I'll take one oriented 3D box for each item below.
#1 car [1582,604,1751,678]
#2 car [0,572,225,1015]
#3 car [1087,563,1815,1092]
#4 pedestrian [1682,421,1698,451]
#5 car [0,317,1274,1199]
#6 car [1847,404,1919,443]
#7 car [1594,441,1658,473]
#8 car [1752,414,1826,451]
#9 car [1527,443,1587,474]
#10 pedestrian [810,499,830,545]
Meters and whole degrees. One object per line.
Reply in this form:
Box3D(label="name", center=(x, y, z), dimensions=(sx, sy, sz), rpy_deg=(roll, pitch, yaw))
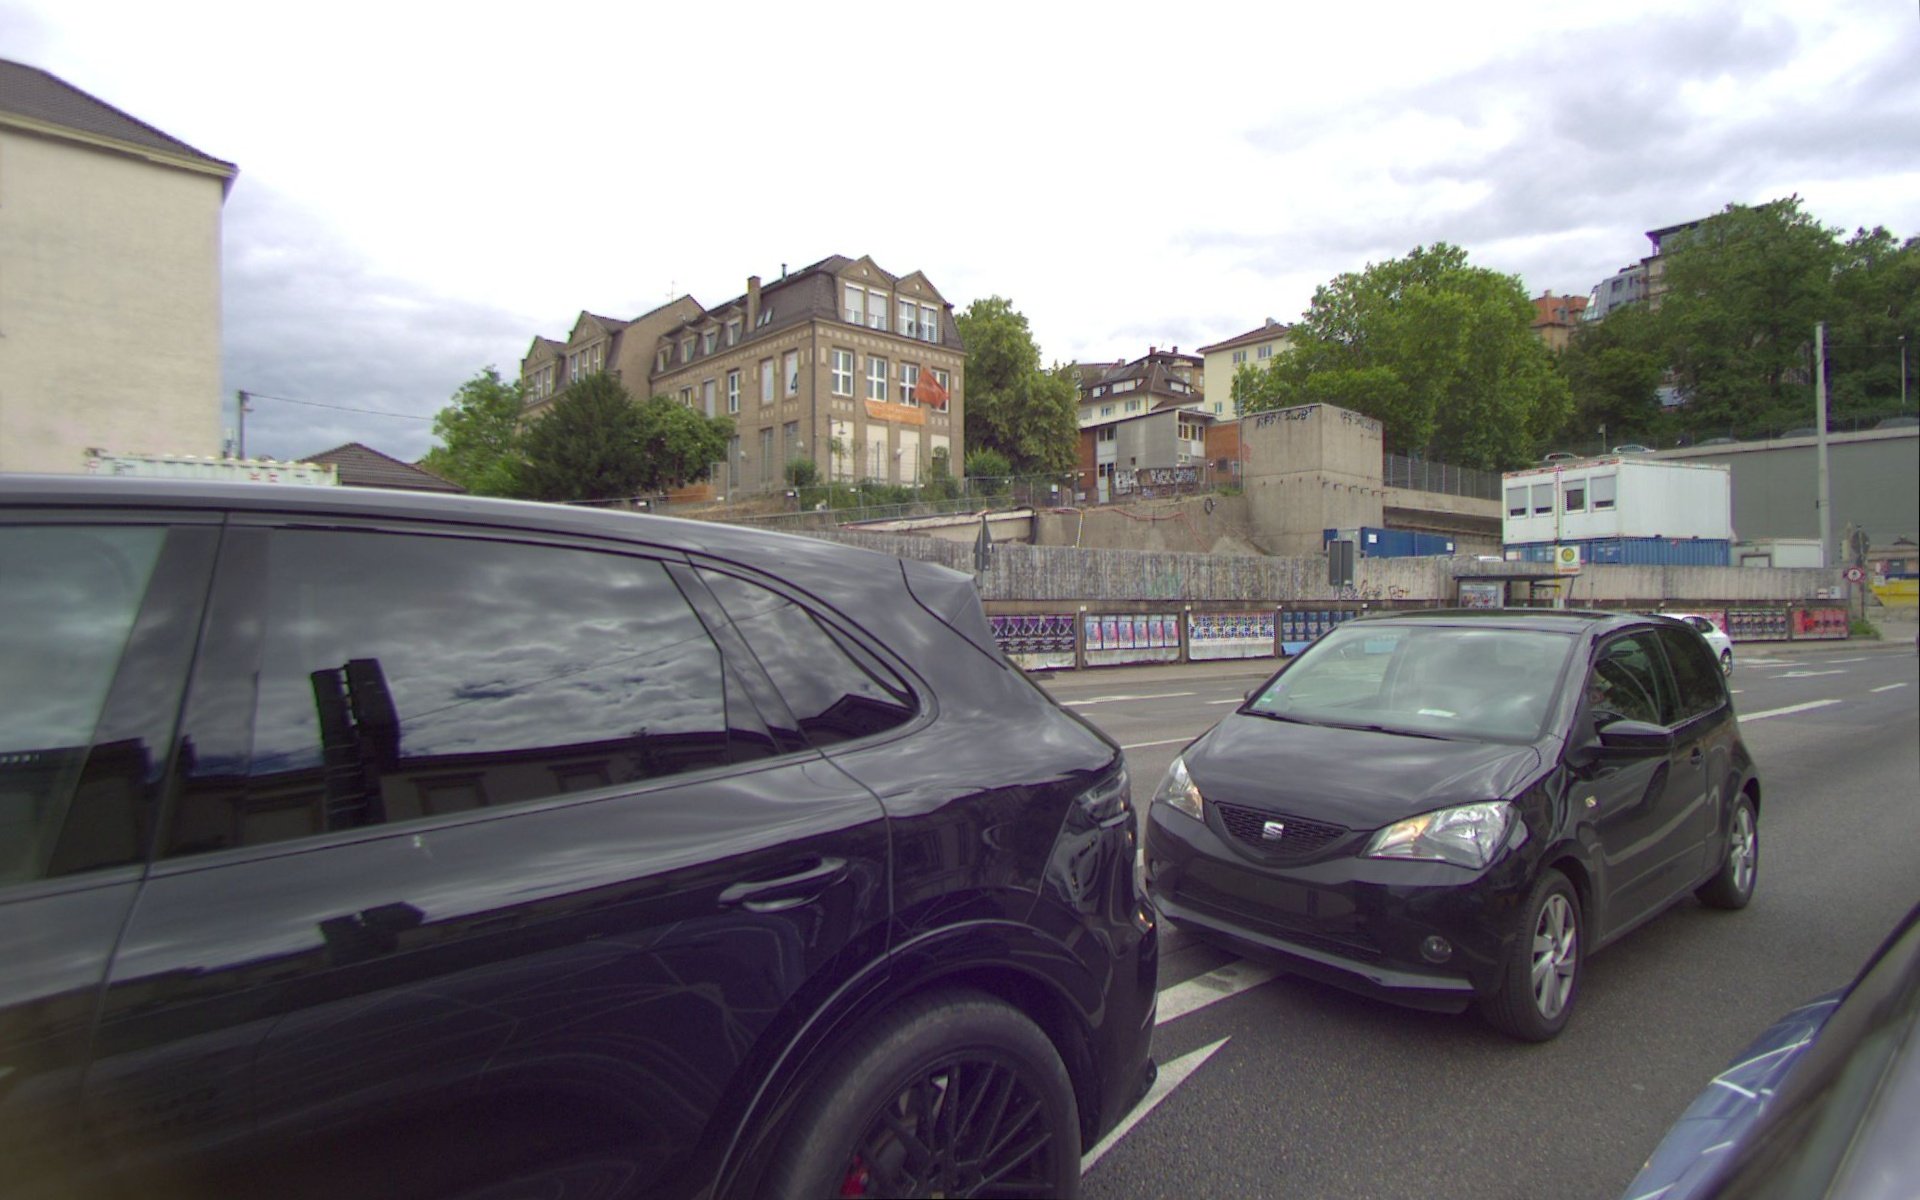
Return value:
Box3D(label="car", center=(15.717, 0.851, 22.478), dimensions=(3.921, 1.498, 1.666), rpy_deg=(0, 0, -32))
Box3D(label="car", center=(-4.890, 0.690, 3.414), dimensions=(3.812, 1.563, 1.667), rpy_deg=(0, -1, -40))
Box3D(label="car", center=(2.520, 0.658, 4.781), dimensions=(3.812, 1.515, 1.667), rpy_deg=(0, -1, -40))
Box3D(label="pedestrian", center=(54.705, -12.311, 75.839), dimensions=(0.891, 2.039, 0.849), rpy_deg=(0, -1, -45))
Box3D(label="car", center=(-1.629, 0.581, 1.696), dimensions=(4.552, 1.707, 1.959), rpy_deg=(0, -1, -40))
Box3D(label="car", center=(64.155, -12.182, 70.037), dimensions=(1.966, 2.039, 3.991), rpy_deg=(0, 1, -43))
Box3D(label="car", center=(53.567, -11.497, 81.429), dimensions=(3.988, 2.039, 1.968), rpy_deg=(0, 1, 45))
Box3D(label="car", center=(60.616, -12.212, 74.005), dimensions=(1.966, 2.039, 3.991), rpy_deg=(0, 1, -43))
Box3D(label="car", center=(50.252, -11.904, 85.219), dimensions=(3.988, 2.039, 1.968), rpy_deg=(0, 1, 45))
Box3D(label="pedestrian", center=(-6.353, -3.527, 46.057), dimensions=(0.656, 2.039, 0.644), rpy_deg=(0, 0, -45))
